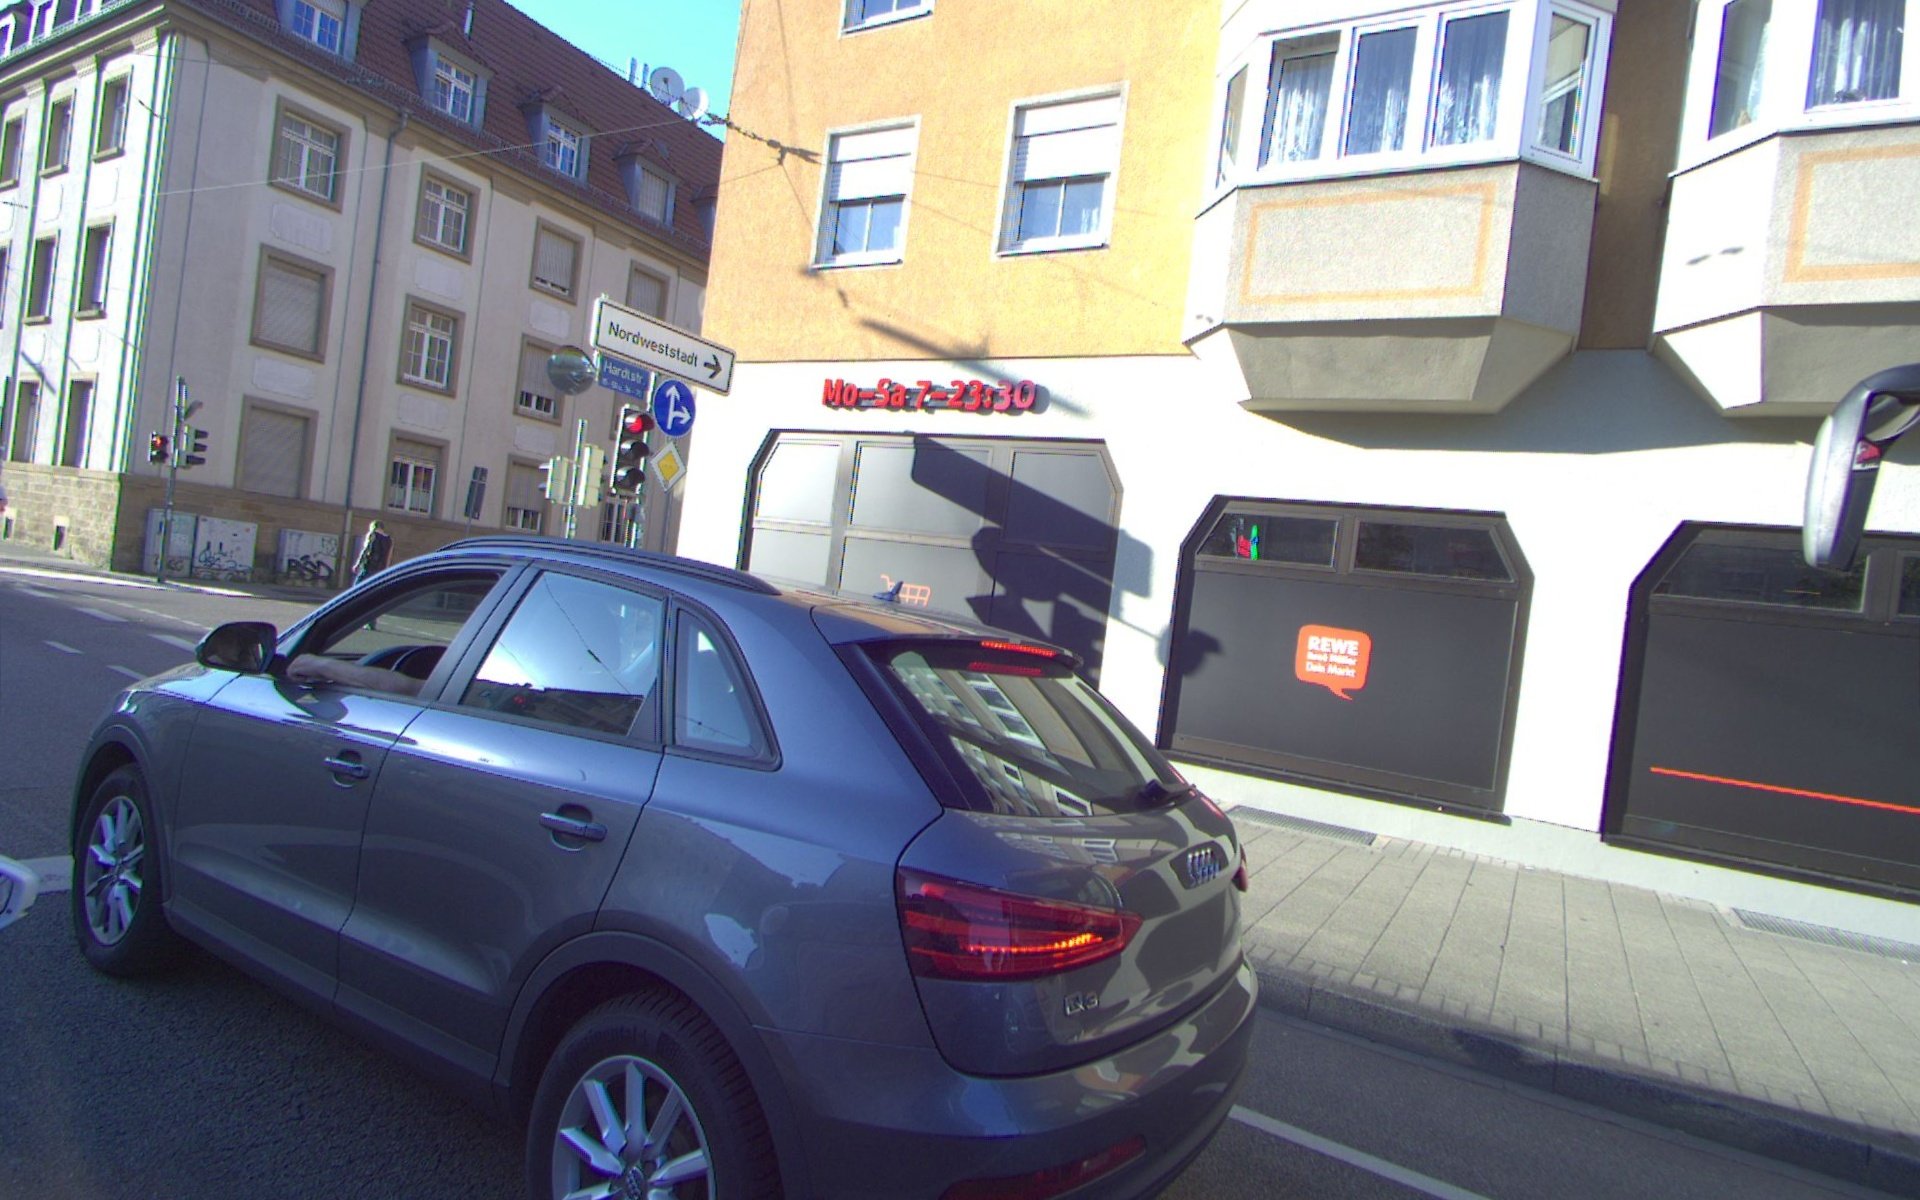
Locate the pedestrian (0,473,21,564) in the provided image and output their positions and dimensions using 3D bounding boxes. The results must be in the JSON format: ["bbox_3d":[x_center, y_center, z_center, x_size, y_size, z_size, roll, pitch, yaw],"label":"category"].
[{"bbox_3d":[-19.505,-1.676,20.026,0.810,1.783,0.837,6,-1,31],"label":"pedestrian"}]

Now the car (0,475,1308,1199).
[{"bbox_3d":[-1.266,0.625,3.310,4.155,1.570,1.701,7,-2,32],"label":"car"}]

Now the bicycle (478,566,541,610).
[{"bbox_3d":[-12.499,-0.325,27.953,1.499,1.029,0.247,9,-2,-43],"label":"bicycle"}]

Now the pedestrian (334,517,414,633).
[{"bbox_3d":[-9.604,-0.409,16.494,0.812,1.778,0.630,6,-1,32],"label":"pedestrian"}]
